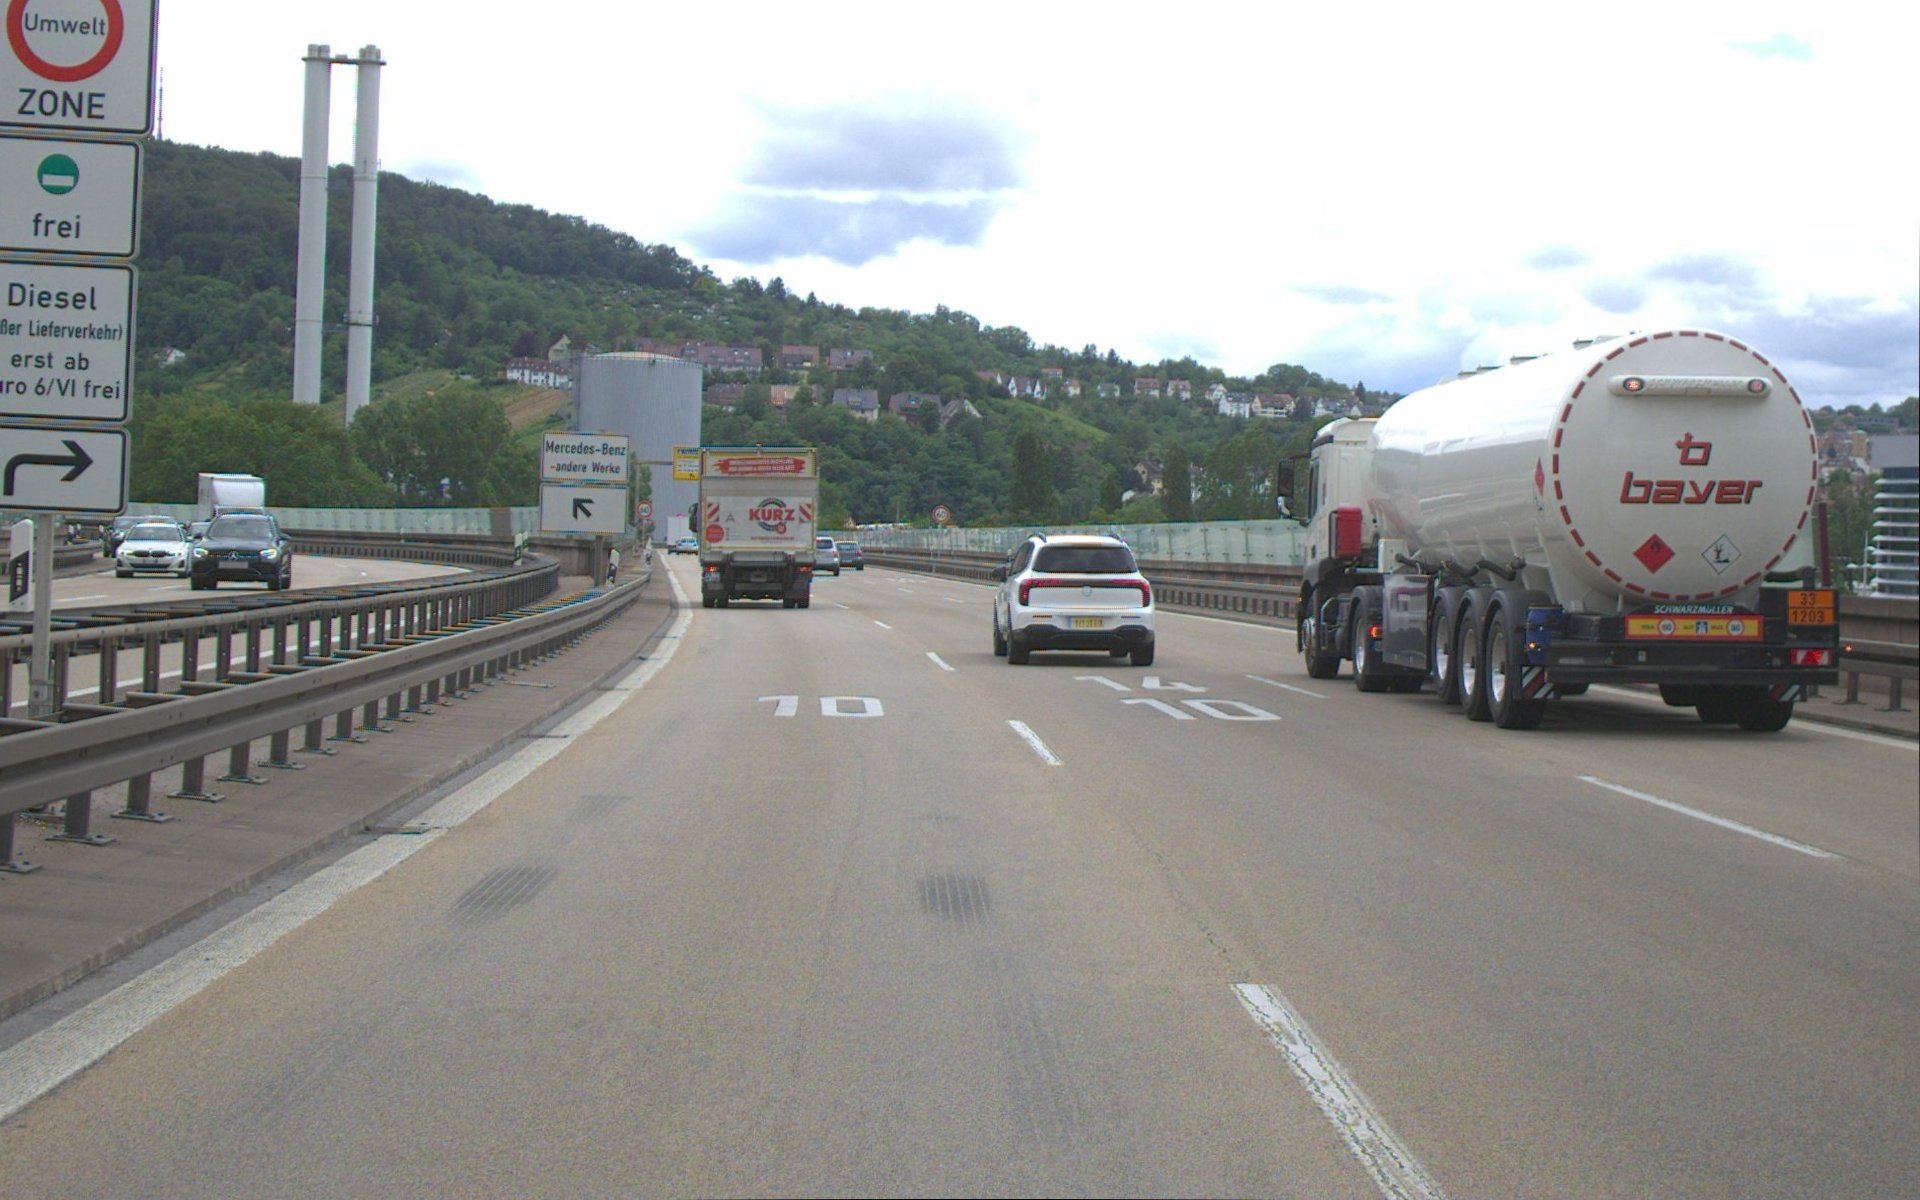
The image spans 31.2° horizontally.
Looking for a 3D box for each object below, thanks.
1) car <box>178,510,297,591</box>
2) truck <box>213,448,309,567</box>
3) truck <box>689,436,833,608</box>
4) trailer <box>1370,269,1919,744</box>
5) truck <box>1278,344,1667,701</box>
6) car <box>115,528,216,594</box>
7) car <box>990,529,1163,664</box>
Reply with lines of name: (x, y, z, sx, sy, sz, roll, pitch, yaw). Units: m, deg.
car: (-15.648, -1.063, 74.682, 1.993, 1.669, 4.409, 1, 0, -5)
truck: (-27.765, -3.594, 136.827, 3.056, 4.547, 8.305, 1, 0, -7)
truck: (-4.586, -1.715, 78.773, 3.056, 3.678, 8.305, 1, 0, -4)
trailer: (6.072, -0.778, 31.854, 3.056, 3.777, 8.305, 1, 0, -3)
truck: (5.603, -0.813, 38.725, 3.014, 3.644, 6.274, 1, 0, -4)
car: (-20.920, -1.022, 90.686, 1.993, 1.669, 4.409, 1, 0, -5)
car: (1.479, -0.056, 45.291, 1.993, 1.669, 4.408, 1, 0, -1)
